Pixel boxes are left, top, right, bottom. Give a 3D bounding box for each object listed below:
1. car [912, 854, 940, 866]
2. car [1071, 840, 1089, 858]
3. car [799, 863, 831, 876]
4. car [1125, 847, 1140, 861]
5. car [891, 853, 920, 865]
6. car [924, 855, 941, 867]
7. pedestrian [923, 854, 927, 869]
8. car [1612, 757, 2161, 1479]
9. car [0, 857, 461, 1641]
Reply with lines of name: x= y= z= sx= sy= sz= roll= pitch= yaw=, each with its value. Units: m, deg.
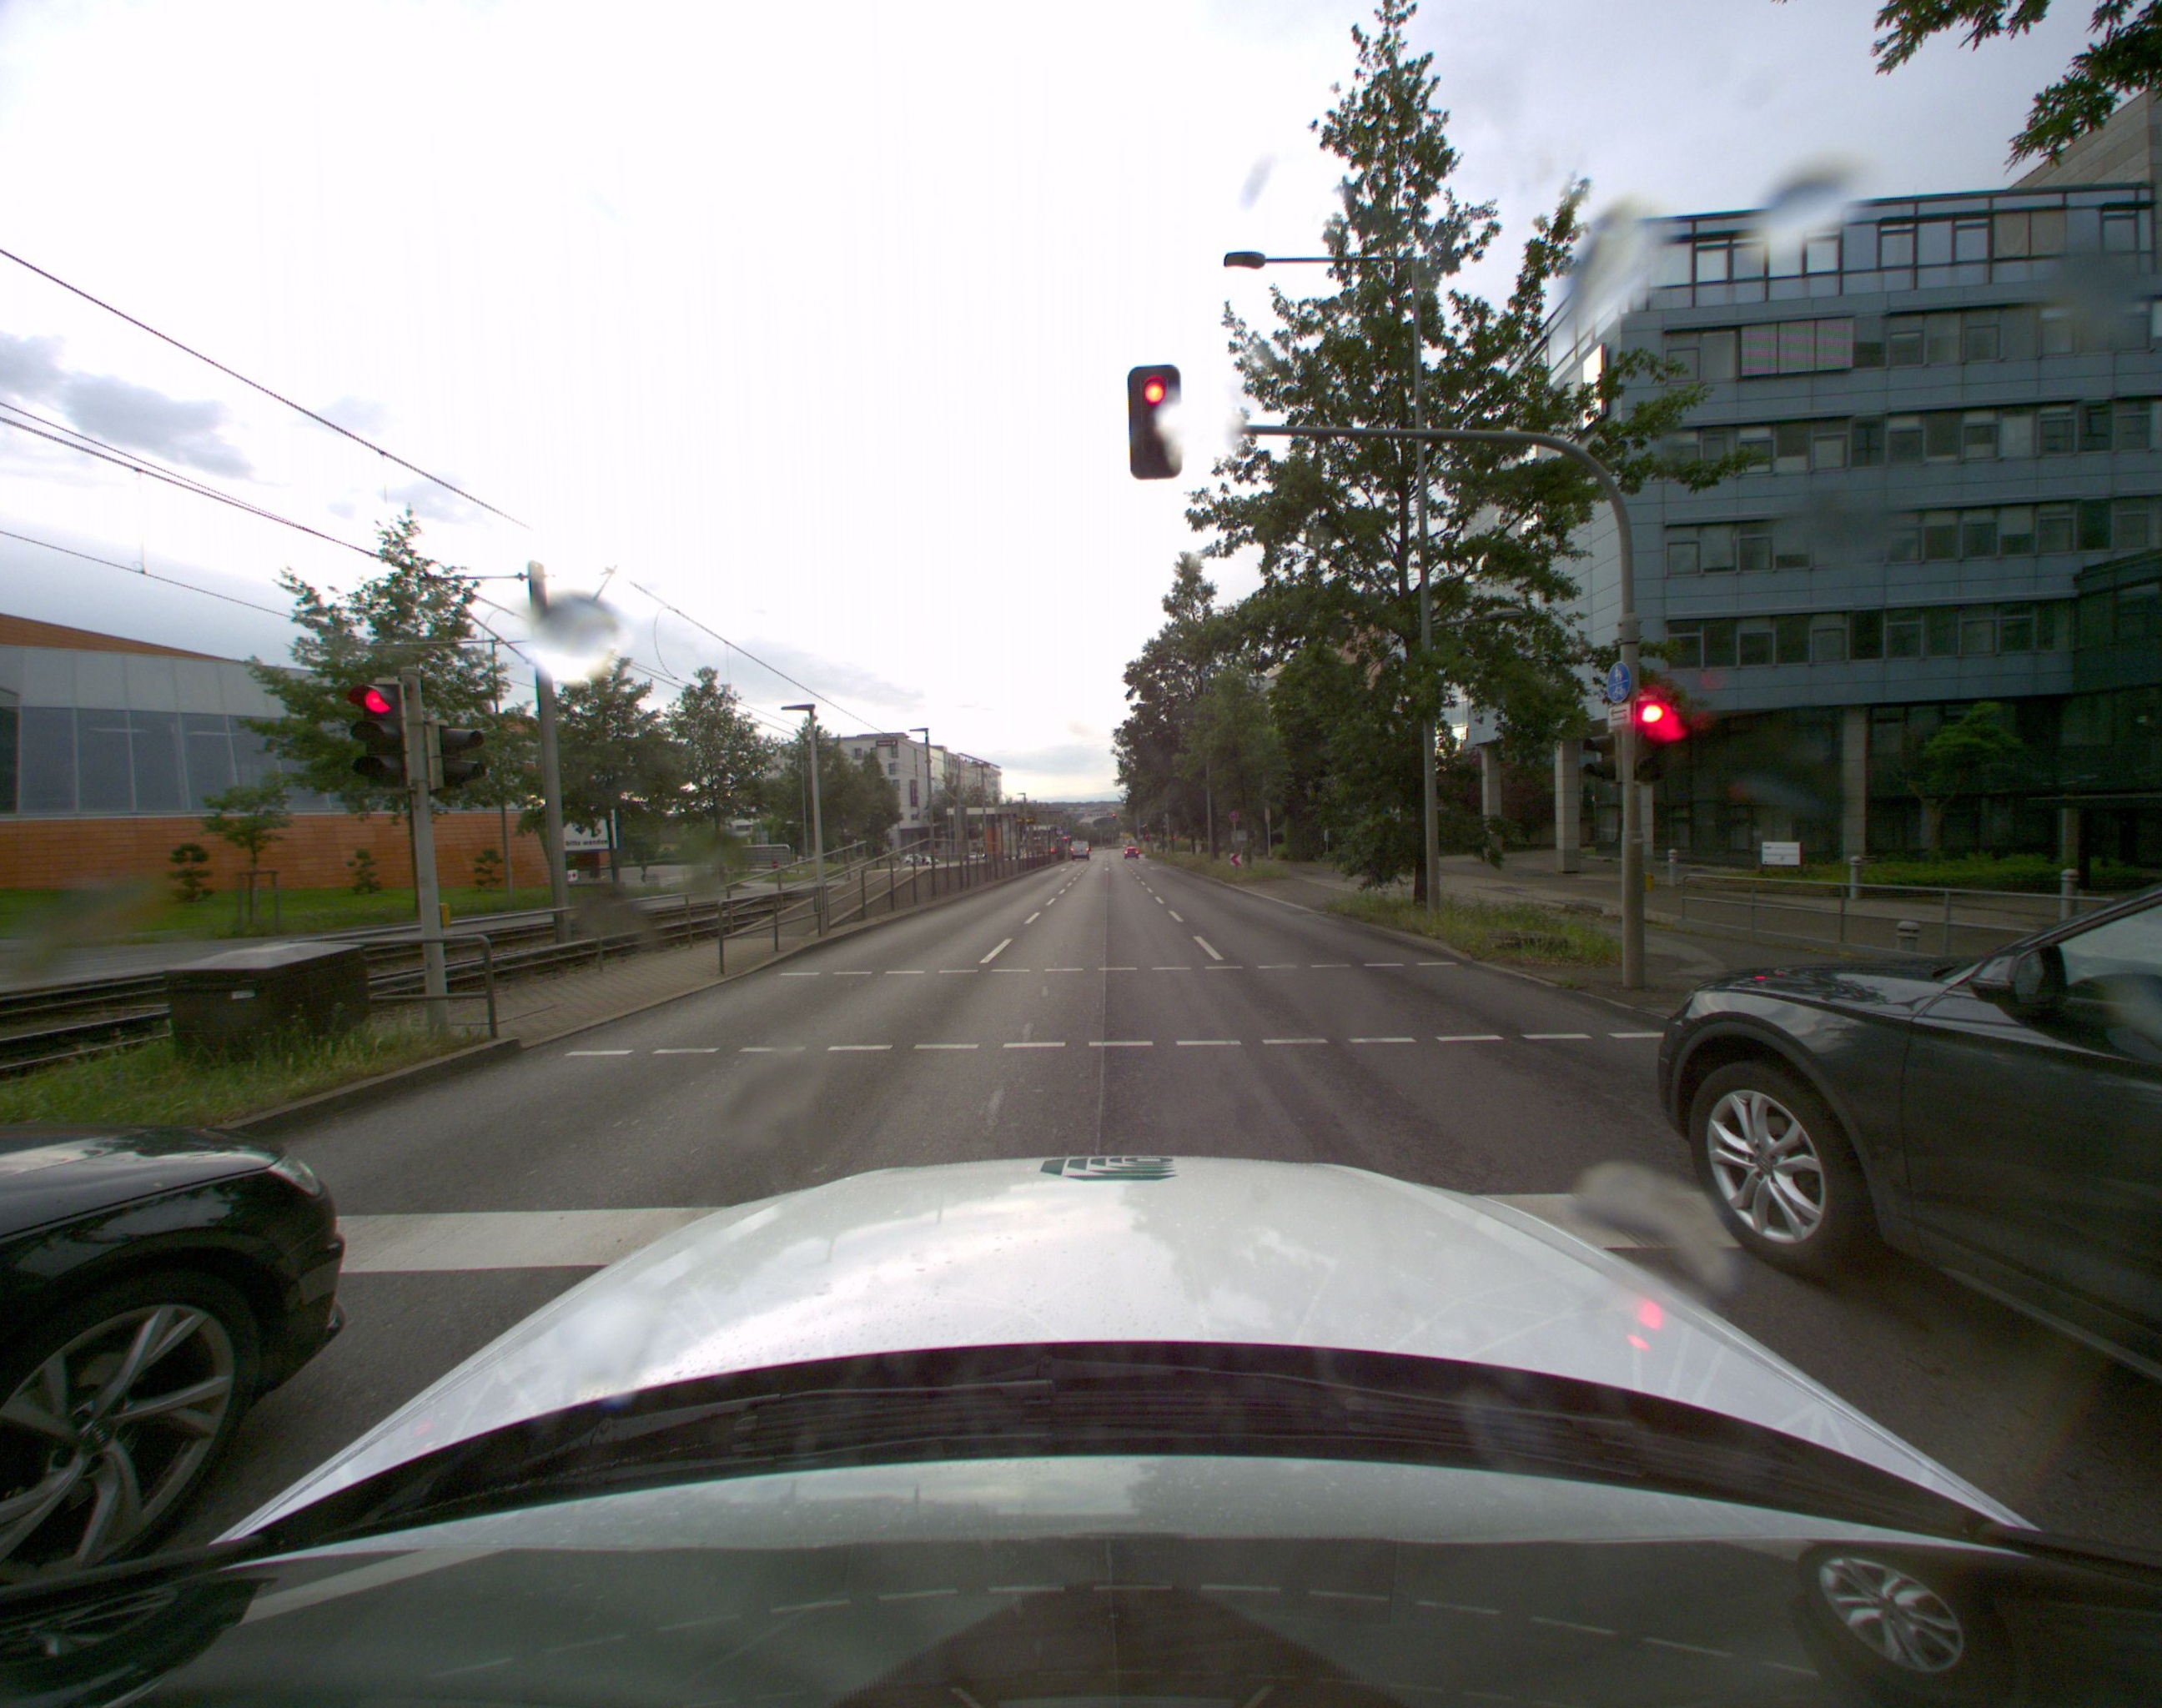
car: x=-22.065 y=0.891 z=115.780 sx=3.829 sy=1.436 sz=1.666 roll=-4 pitch=0 yaw=38
car: x=-0.130 y=-0.573 z=98.313 sx=2.086 sy=2.053 sz=4.606 roll=-1 pitch=0 yaw=0
car: x=-31.495 y=1.817 z=96.569 sx=3.341 sy=1.387 sz=1.440 roll=-1 pitch=0 yaw=18
car: x=6.468 y=0.029 z=102.880 sx=1.767 sy=1.691 sz=3.847 roll=-1 pitch=0 yaw=2
car: x=-26.457 y=0.754 z=122.861 sx=4.094 sy=1.436 sz=1.648 roll=-4 pitch=0 yaw=-13
car: x=-19.009 y=0.857 z=104.133 sx=1.654 sy=1.436 sz=3.859 roll=-4 pitch=0 yaw=-15
pedestrian: x=-20.268 y=0.980 z=105.781 sx=0.473 sy=1.920 sz=0.490 roll=-1 pitch=0 yaw=1
car: x=3.297 y=0.573 z=1.493 sx=1.811 sy=1.612 sz=4.472 roll=-1 pitch=0 yaw=2
car: x=-2.971 y=0.775 z=0.384 sx=1.774 sy=1.466 sz=4.515 roll=-1 pitch=0 yaw=2
